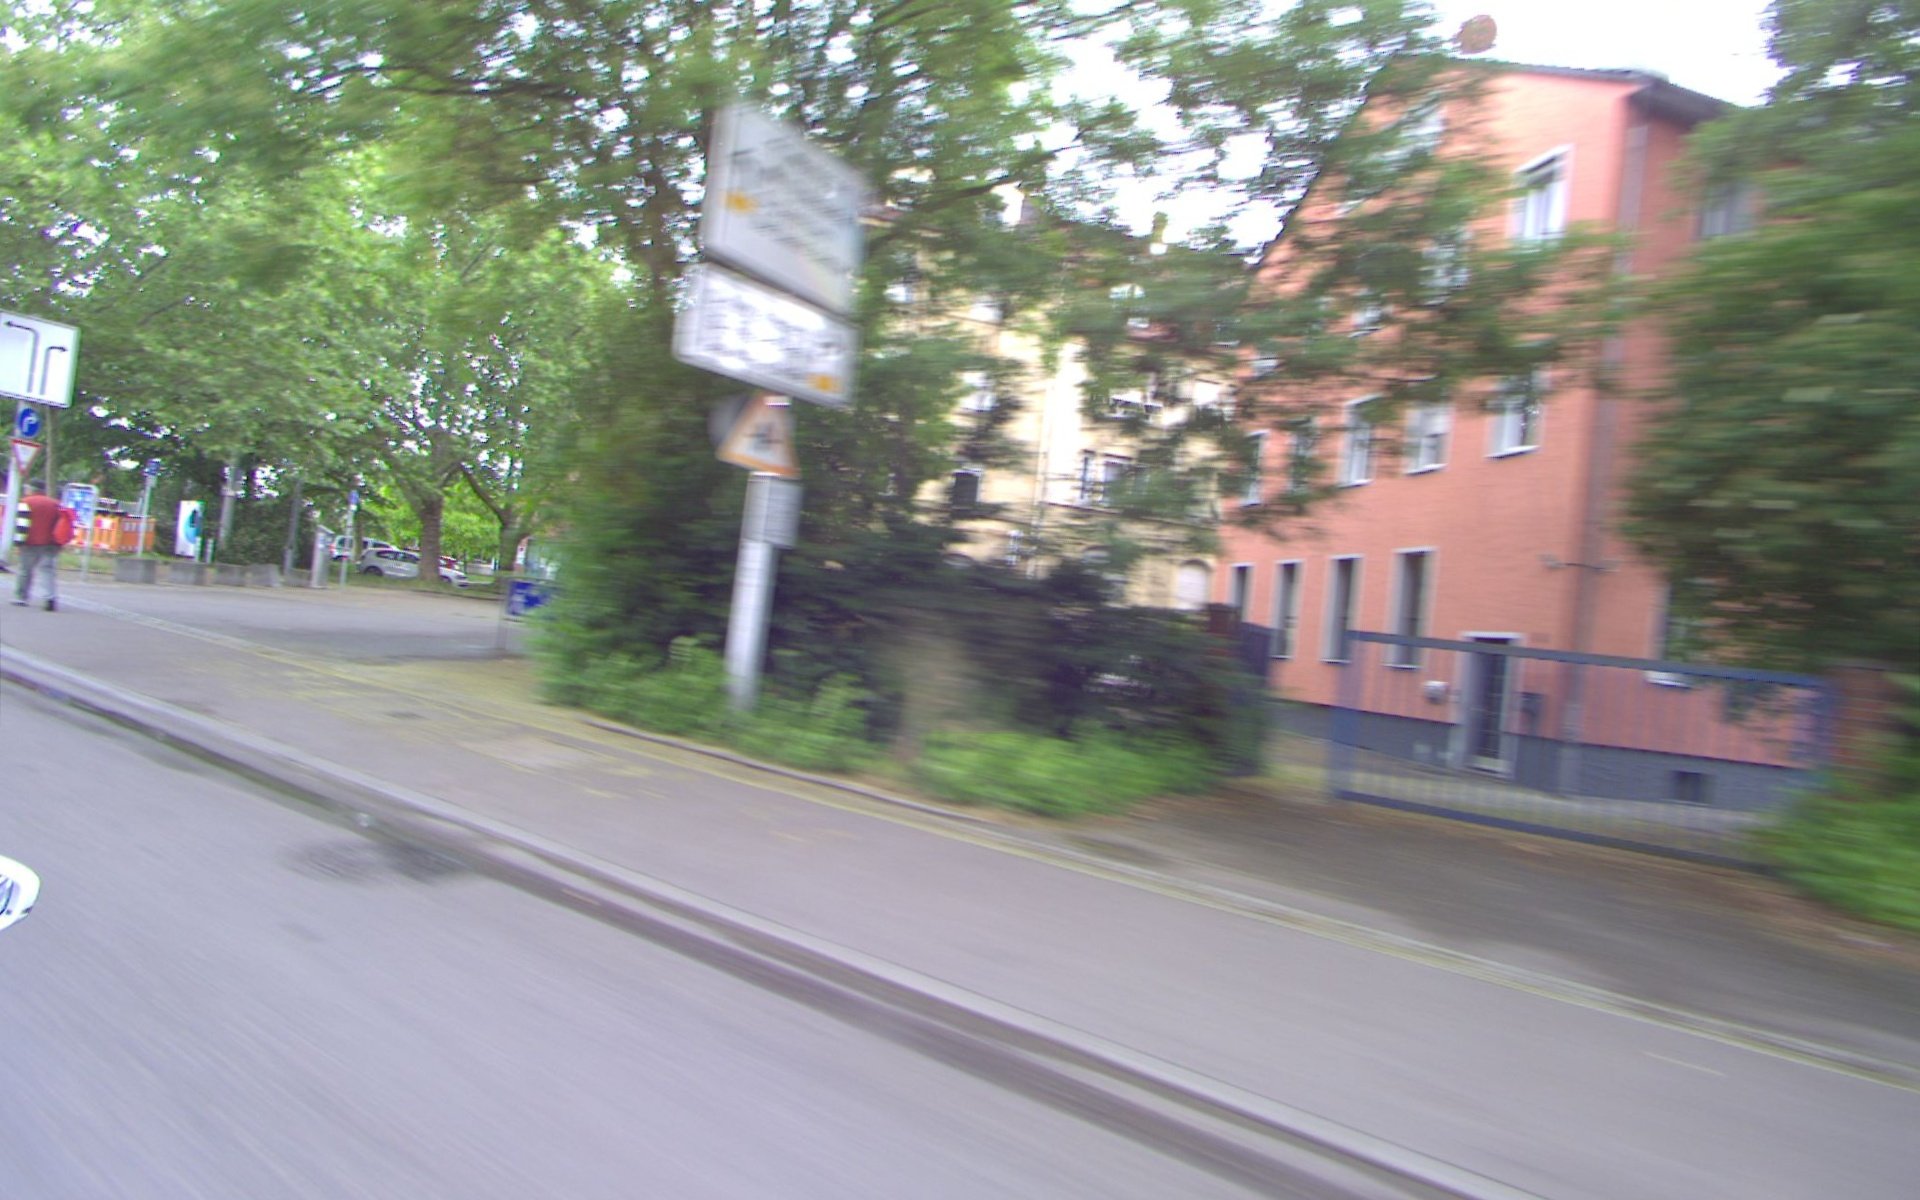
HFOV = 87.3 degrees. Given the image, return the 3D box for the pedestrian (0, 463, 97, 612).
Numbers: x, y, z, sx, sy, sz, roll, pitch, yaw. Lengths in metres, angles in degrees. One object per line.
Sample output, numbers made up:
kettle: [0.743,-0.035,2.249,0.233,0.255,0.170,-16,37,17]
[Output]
pedestrian: [-12.151,-0.812,13.351,0.715,1.855,0.780,7,2,31]

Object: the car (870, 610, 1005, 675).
car: [-0.734,1.330,31.803,3.934,1.609,1.618,6,-1,-12]

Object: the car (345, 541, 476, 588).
car: [-22.891,-1.458,42.080,4.438,1.341,1.715,7,-1,-17]

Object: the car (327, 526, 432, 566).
car: [-30.777,-2.838,53.488,4.443,1.489,1.713,7,-1,-20]
